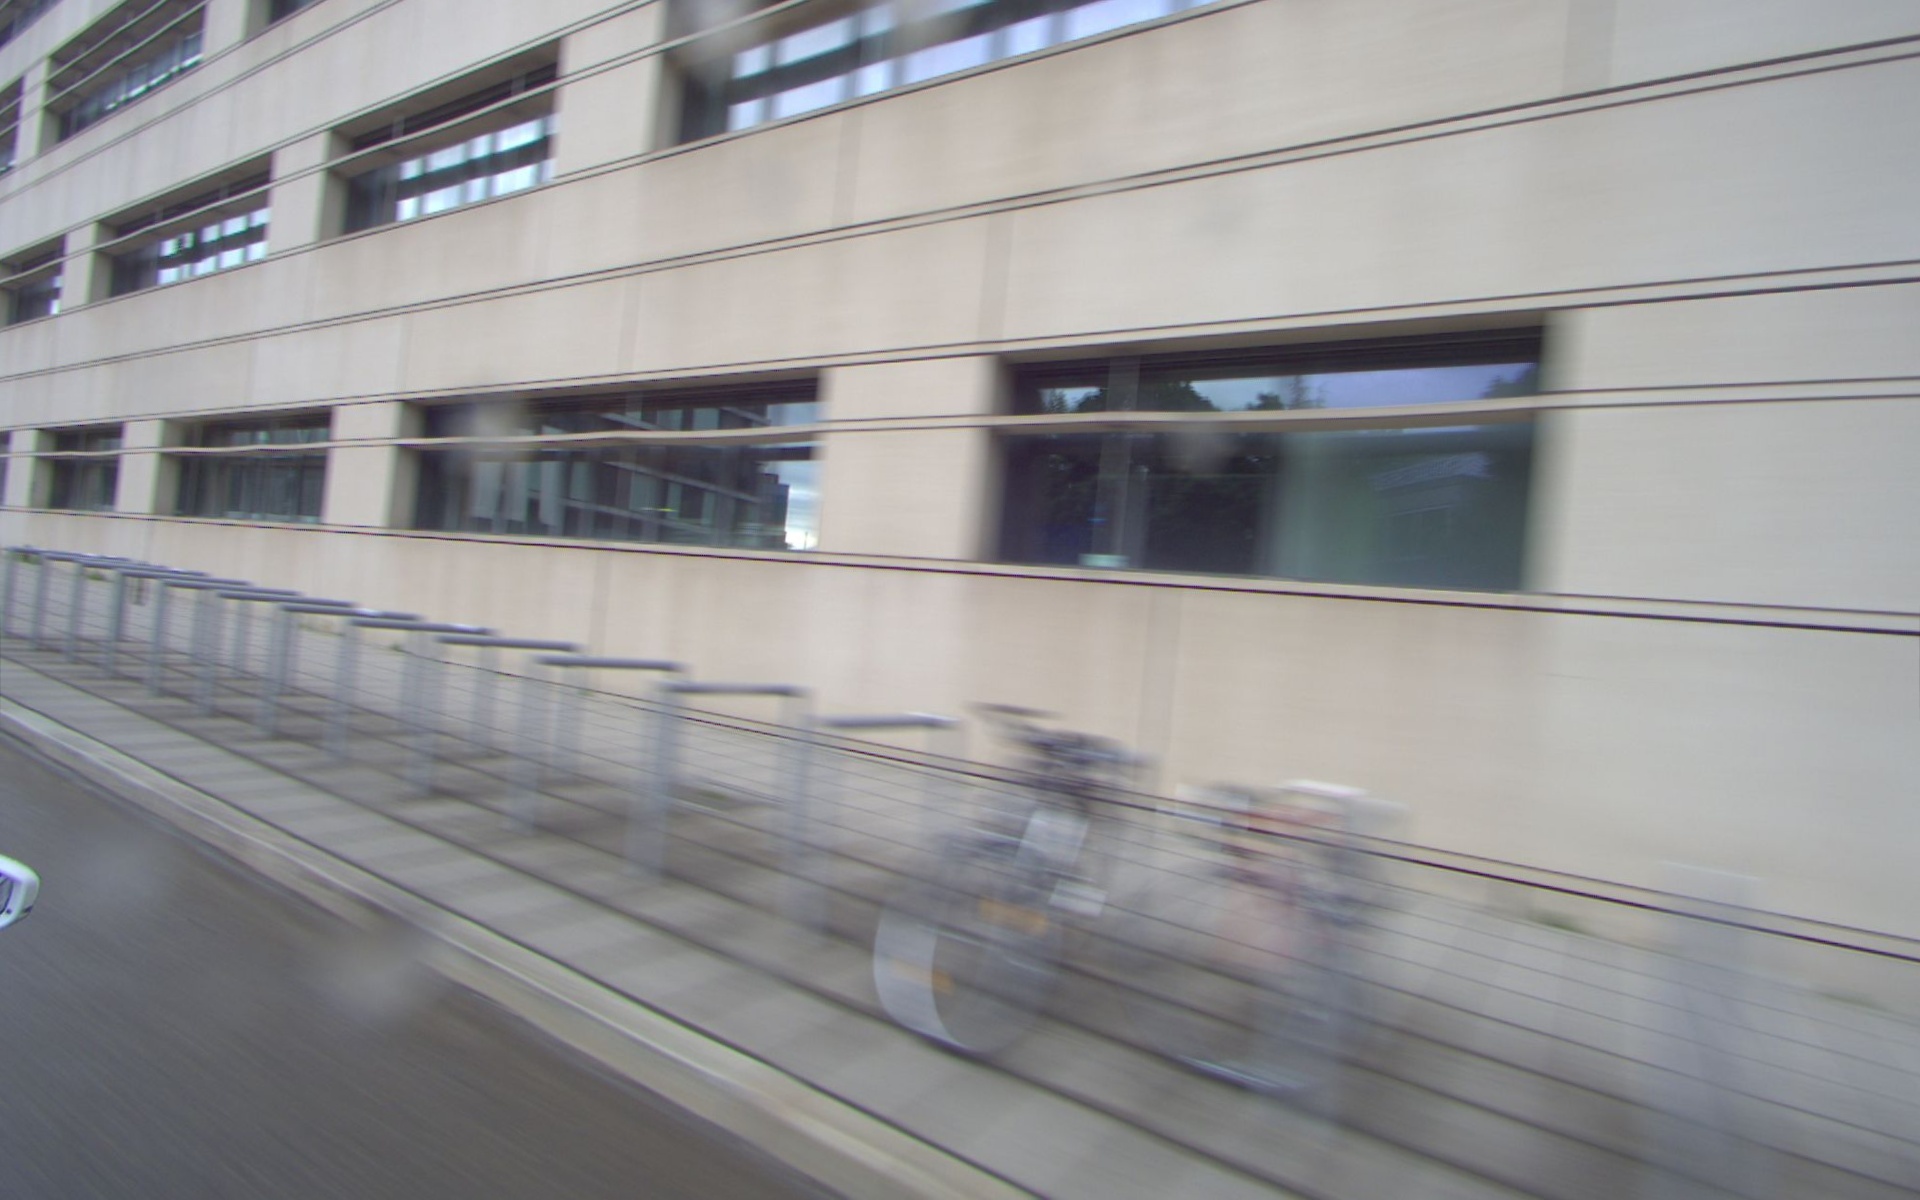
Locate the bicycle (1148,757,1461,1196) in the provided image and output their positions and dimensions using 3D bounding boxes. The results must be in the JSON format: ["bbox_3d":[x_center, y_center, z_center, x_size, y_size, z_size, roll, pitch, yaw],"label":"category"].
[{"bbox_3d":[1.328,1.148,3.607,0.648,0.964,1.762,6,-1,30],"label":"bicycle"}]

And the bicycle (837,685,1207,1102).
[{"bbox_3d":[0.350,0.933,3.844,0.648,1.132,1.733,6,-1,28],"label":"bicycle"}]
